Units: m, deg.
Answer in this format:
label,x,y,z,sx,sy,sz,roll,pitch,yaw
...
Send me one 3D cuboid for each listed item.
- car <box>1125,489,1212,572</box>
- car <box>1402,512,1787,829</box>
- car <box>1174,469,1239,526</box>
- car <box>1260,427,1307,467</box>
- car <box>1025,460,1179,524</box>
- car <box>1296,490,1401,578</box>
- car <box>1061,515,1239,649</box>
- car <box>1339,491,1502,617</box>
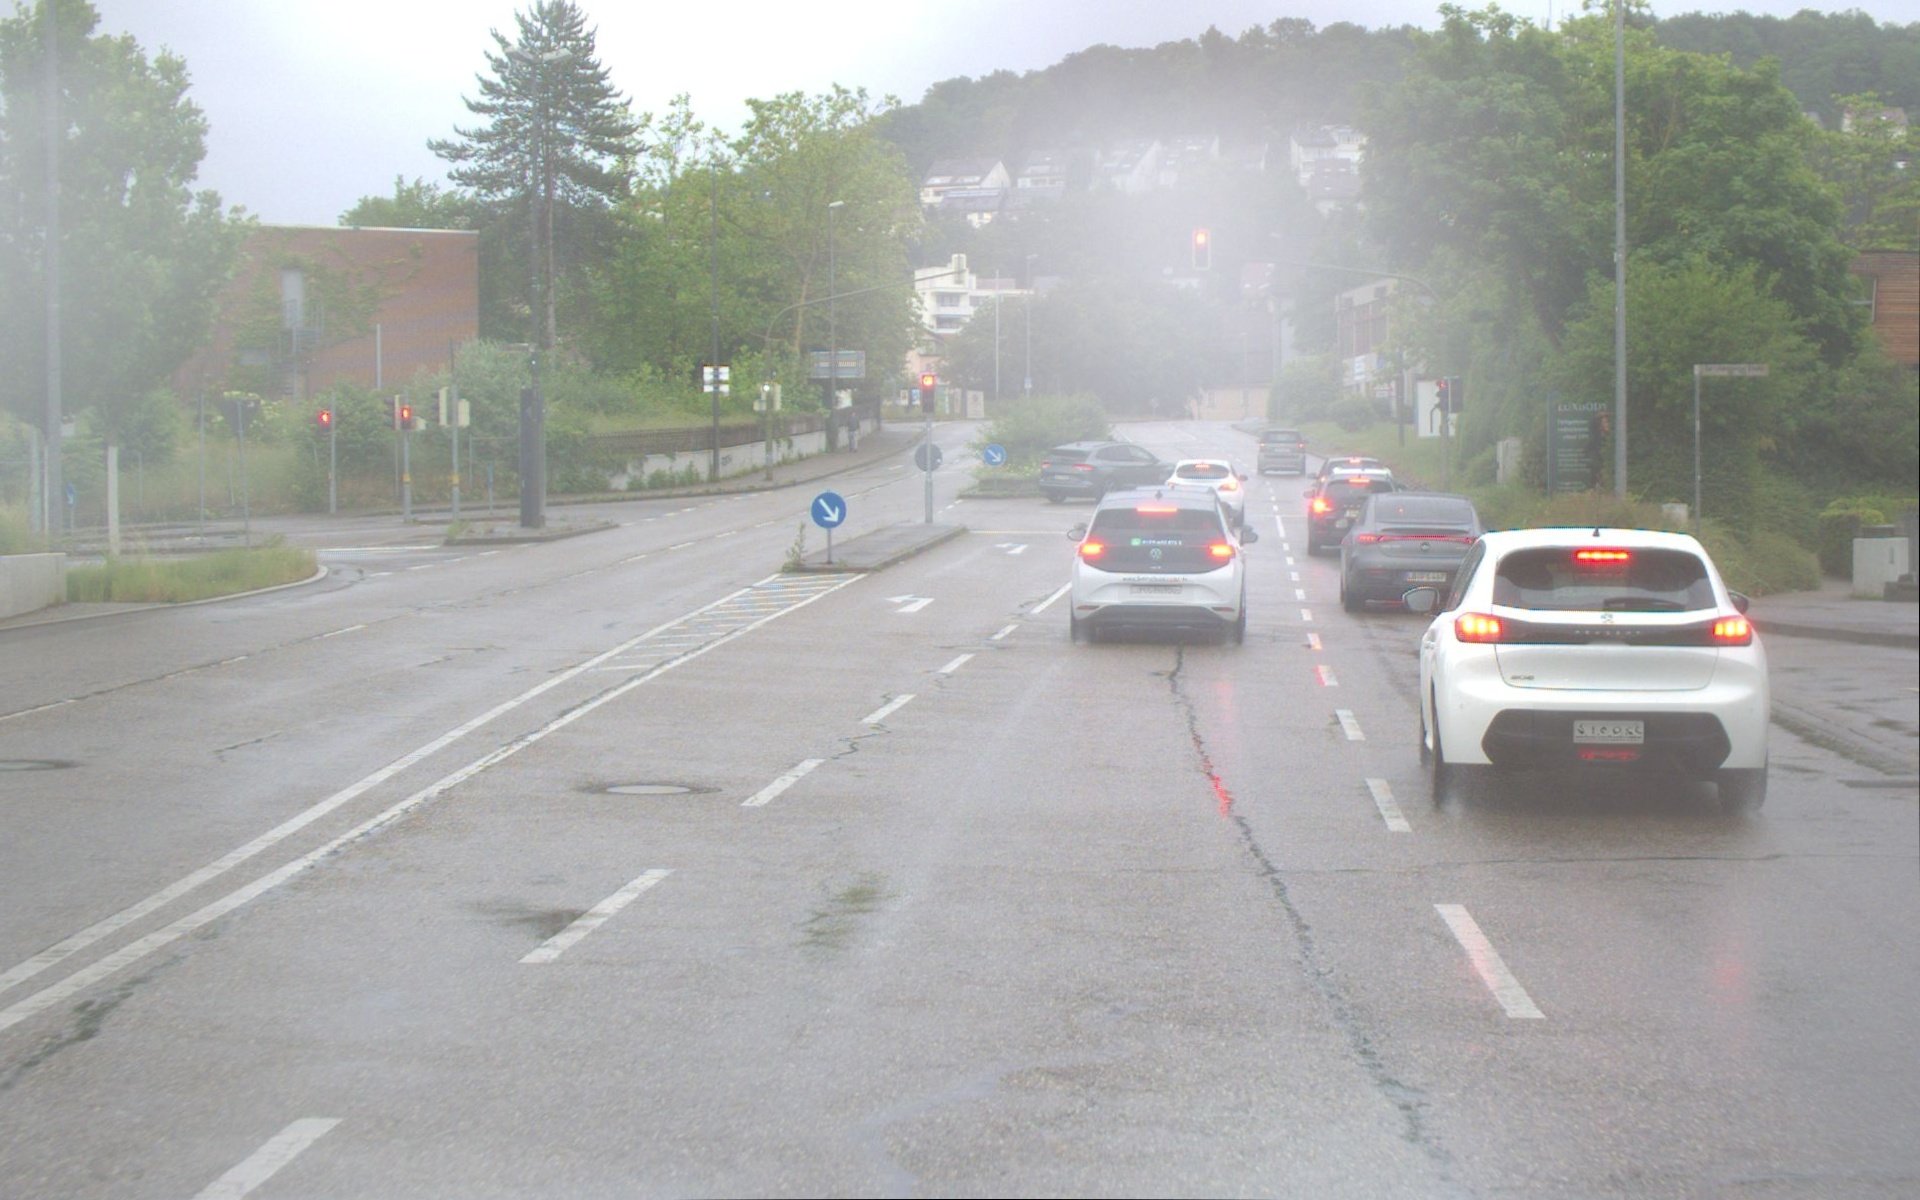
label,x,y,z,sx,sy,sz,roll,pitch,yaw
car,3.135,-1.038,51.865,1.213,1.152,2.270,-1,-1,2
car,3.377,0.296,18.921,1.691,1.514,3.933,0,2,5
car,5.431,-2.263,75.940,1.385,1.123,2.610,-1,-1,4
car,10.423,-4.918,110.885,1.366,1.153,2.426,-1,0,3
car,3.678,-2.783,88.824,3.514,1.564,1.800,-1,-1,-29
car,7.061,-1.180,62.753,1.648,1.480,3.365,-1,-1,3
car,2.011,-0.196,35.923,1.741,1.291,3.333,-1,0,4
car,5.753,-0.612,43.247,1.734,1.383,3.352,1,4,3
